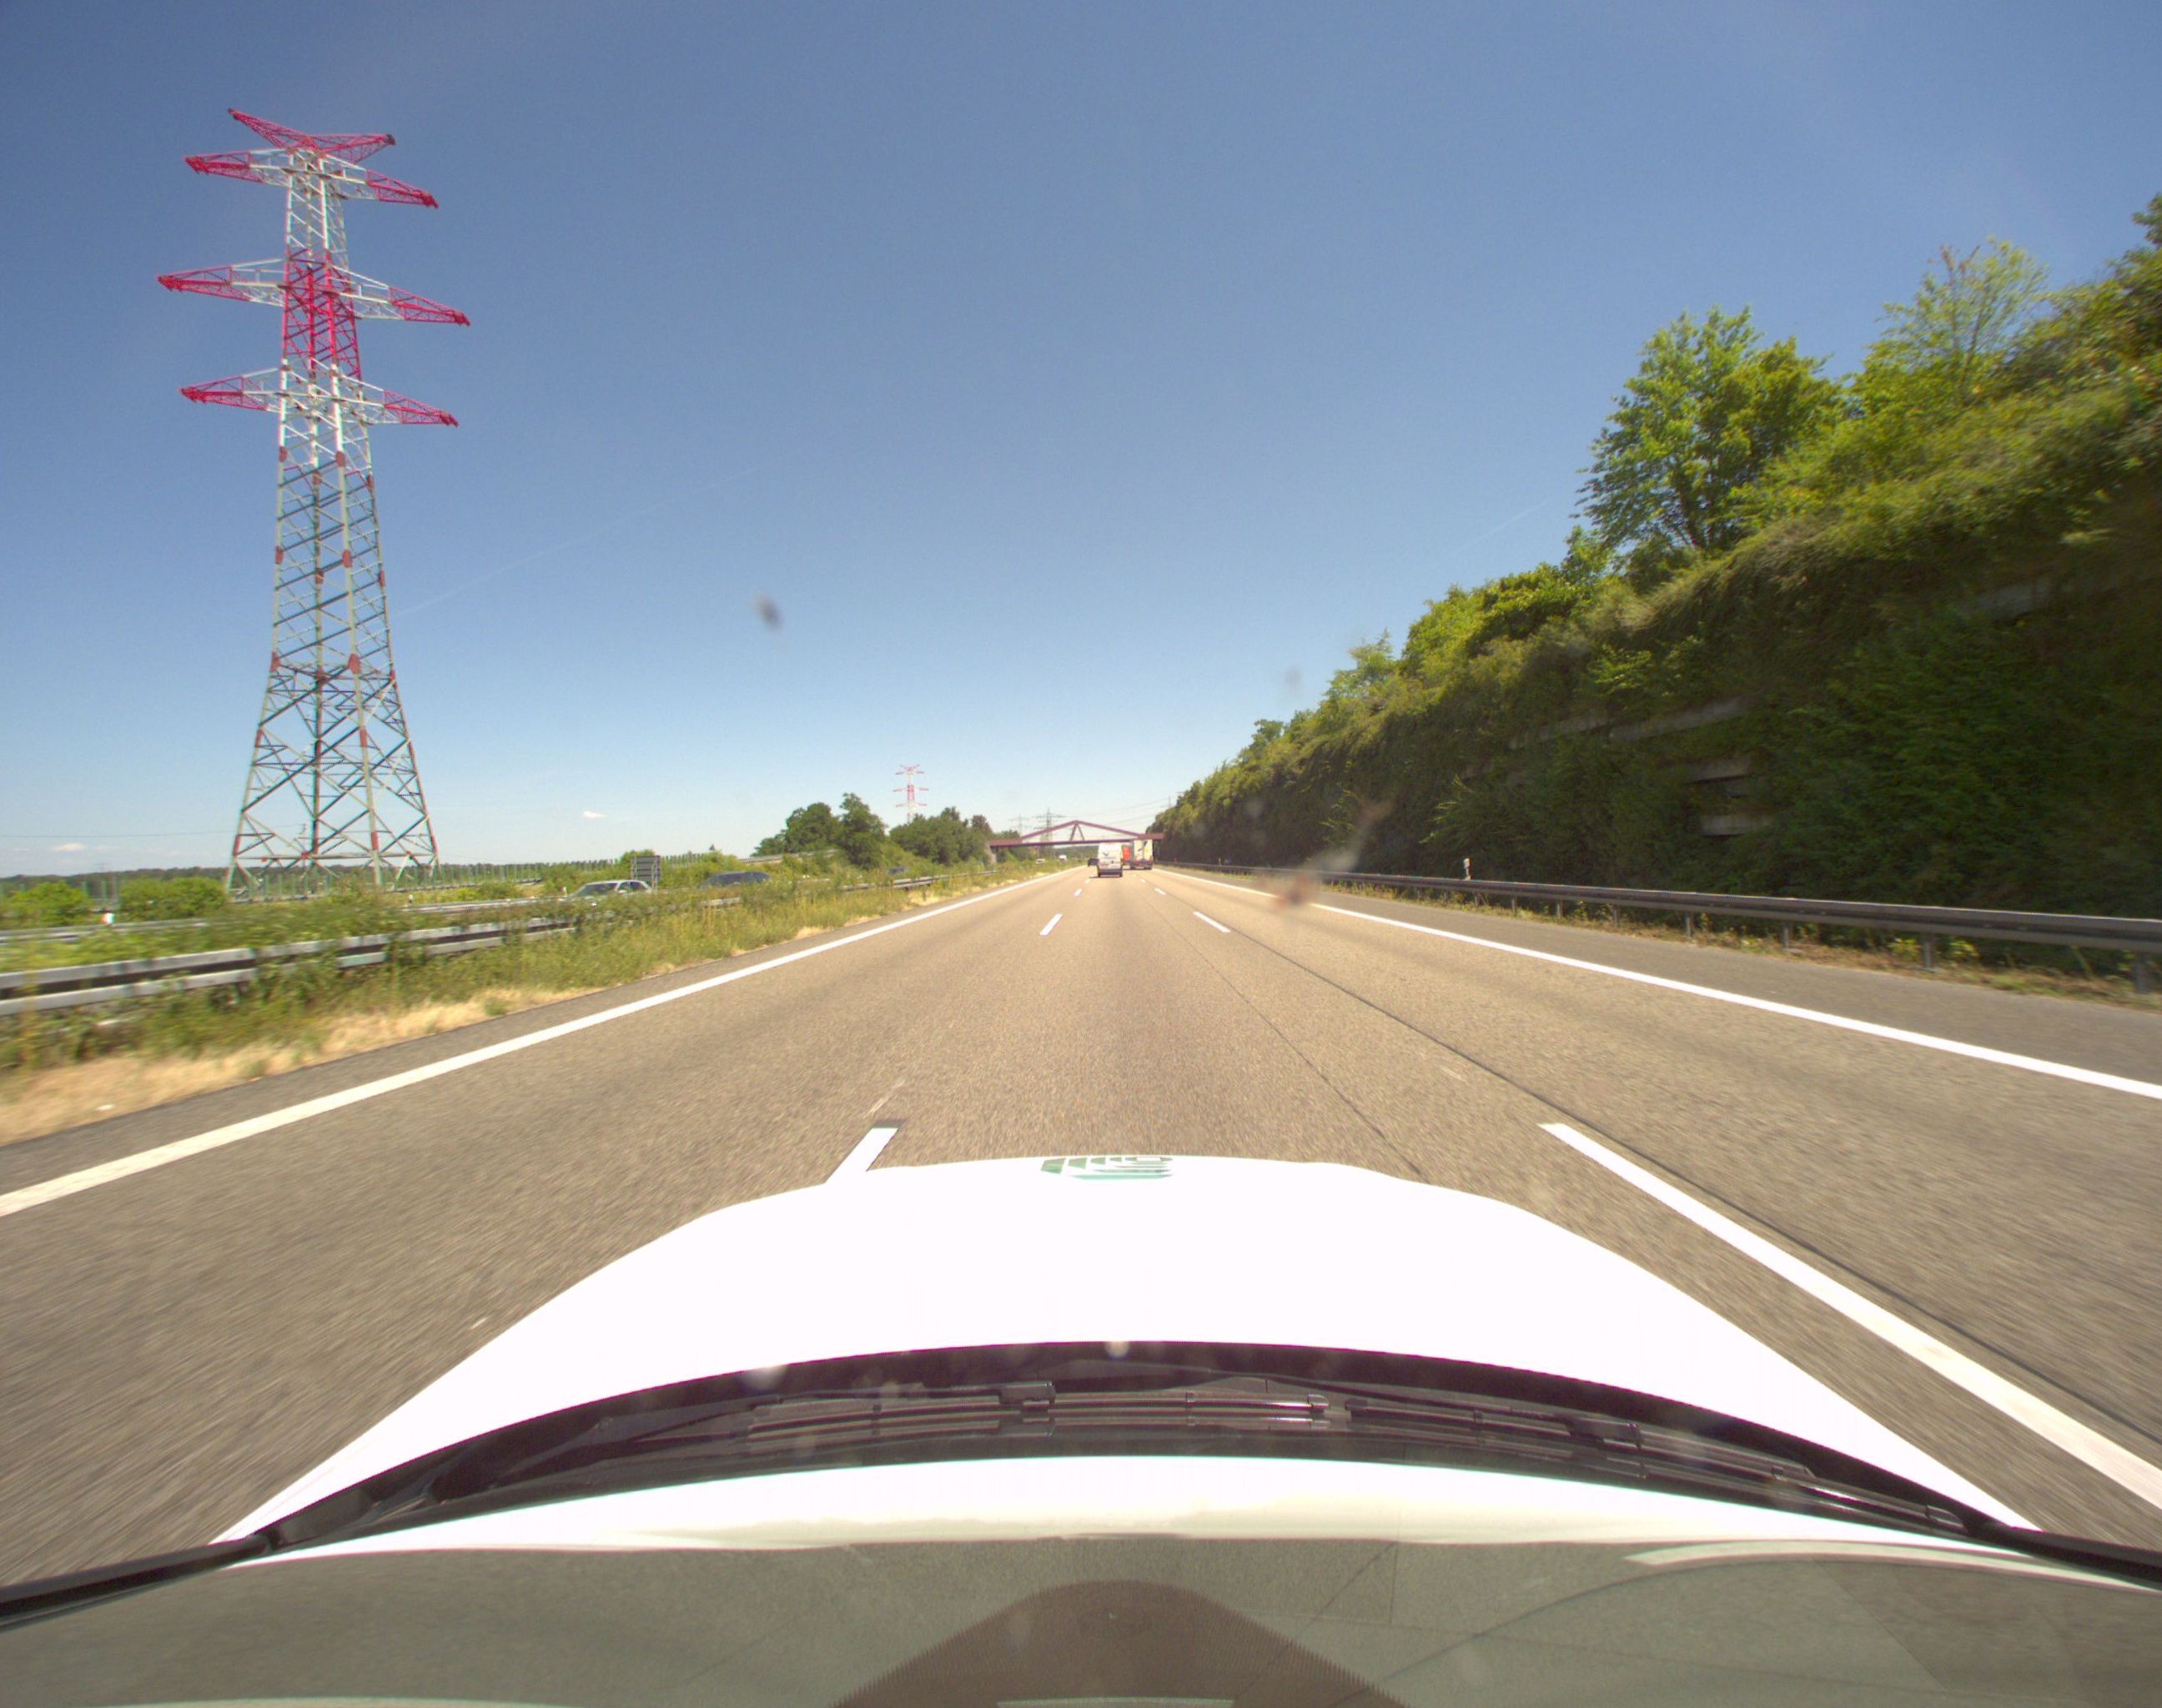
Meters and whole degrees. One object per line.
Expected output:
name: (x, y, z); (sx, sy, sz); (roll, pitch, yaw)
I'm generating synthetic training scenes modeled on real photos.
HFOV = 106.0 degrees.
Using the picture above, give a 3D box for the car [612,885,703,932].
car: (-15.377, 1.944, 29.756); (1.441, 1.515, 3.404); (0, 0, 2)

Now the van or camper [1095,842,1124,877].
van or camper: (2.325, 0.443, 66.739); (2.222, 2.782, 5.424); (0, 0, 1)

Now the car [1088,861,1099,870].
car: (2.533, 2.335, 163.214); (1.974, 1.817, 3.816); (0, 0, 3)

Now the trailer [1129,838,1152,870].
trailer: (7.847, -0.005, 108.557); (2.627, 4.060, 12.373); (0, 0, 2)

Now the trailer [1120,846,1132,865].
trailer: (9.522, 0.255, 172.939); (2.627, 3.897, 7.072); (0, 0, 2)
